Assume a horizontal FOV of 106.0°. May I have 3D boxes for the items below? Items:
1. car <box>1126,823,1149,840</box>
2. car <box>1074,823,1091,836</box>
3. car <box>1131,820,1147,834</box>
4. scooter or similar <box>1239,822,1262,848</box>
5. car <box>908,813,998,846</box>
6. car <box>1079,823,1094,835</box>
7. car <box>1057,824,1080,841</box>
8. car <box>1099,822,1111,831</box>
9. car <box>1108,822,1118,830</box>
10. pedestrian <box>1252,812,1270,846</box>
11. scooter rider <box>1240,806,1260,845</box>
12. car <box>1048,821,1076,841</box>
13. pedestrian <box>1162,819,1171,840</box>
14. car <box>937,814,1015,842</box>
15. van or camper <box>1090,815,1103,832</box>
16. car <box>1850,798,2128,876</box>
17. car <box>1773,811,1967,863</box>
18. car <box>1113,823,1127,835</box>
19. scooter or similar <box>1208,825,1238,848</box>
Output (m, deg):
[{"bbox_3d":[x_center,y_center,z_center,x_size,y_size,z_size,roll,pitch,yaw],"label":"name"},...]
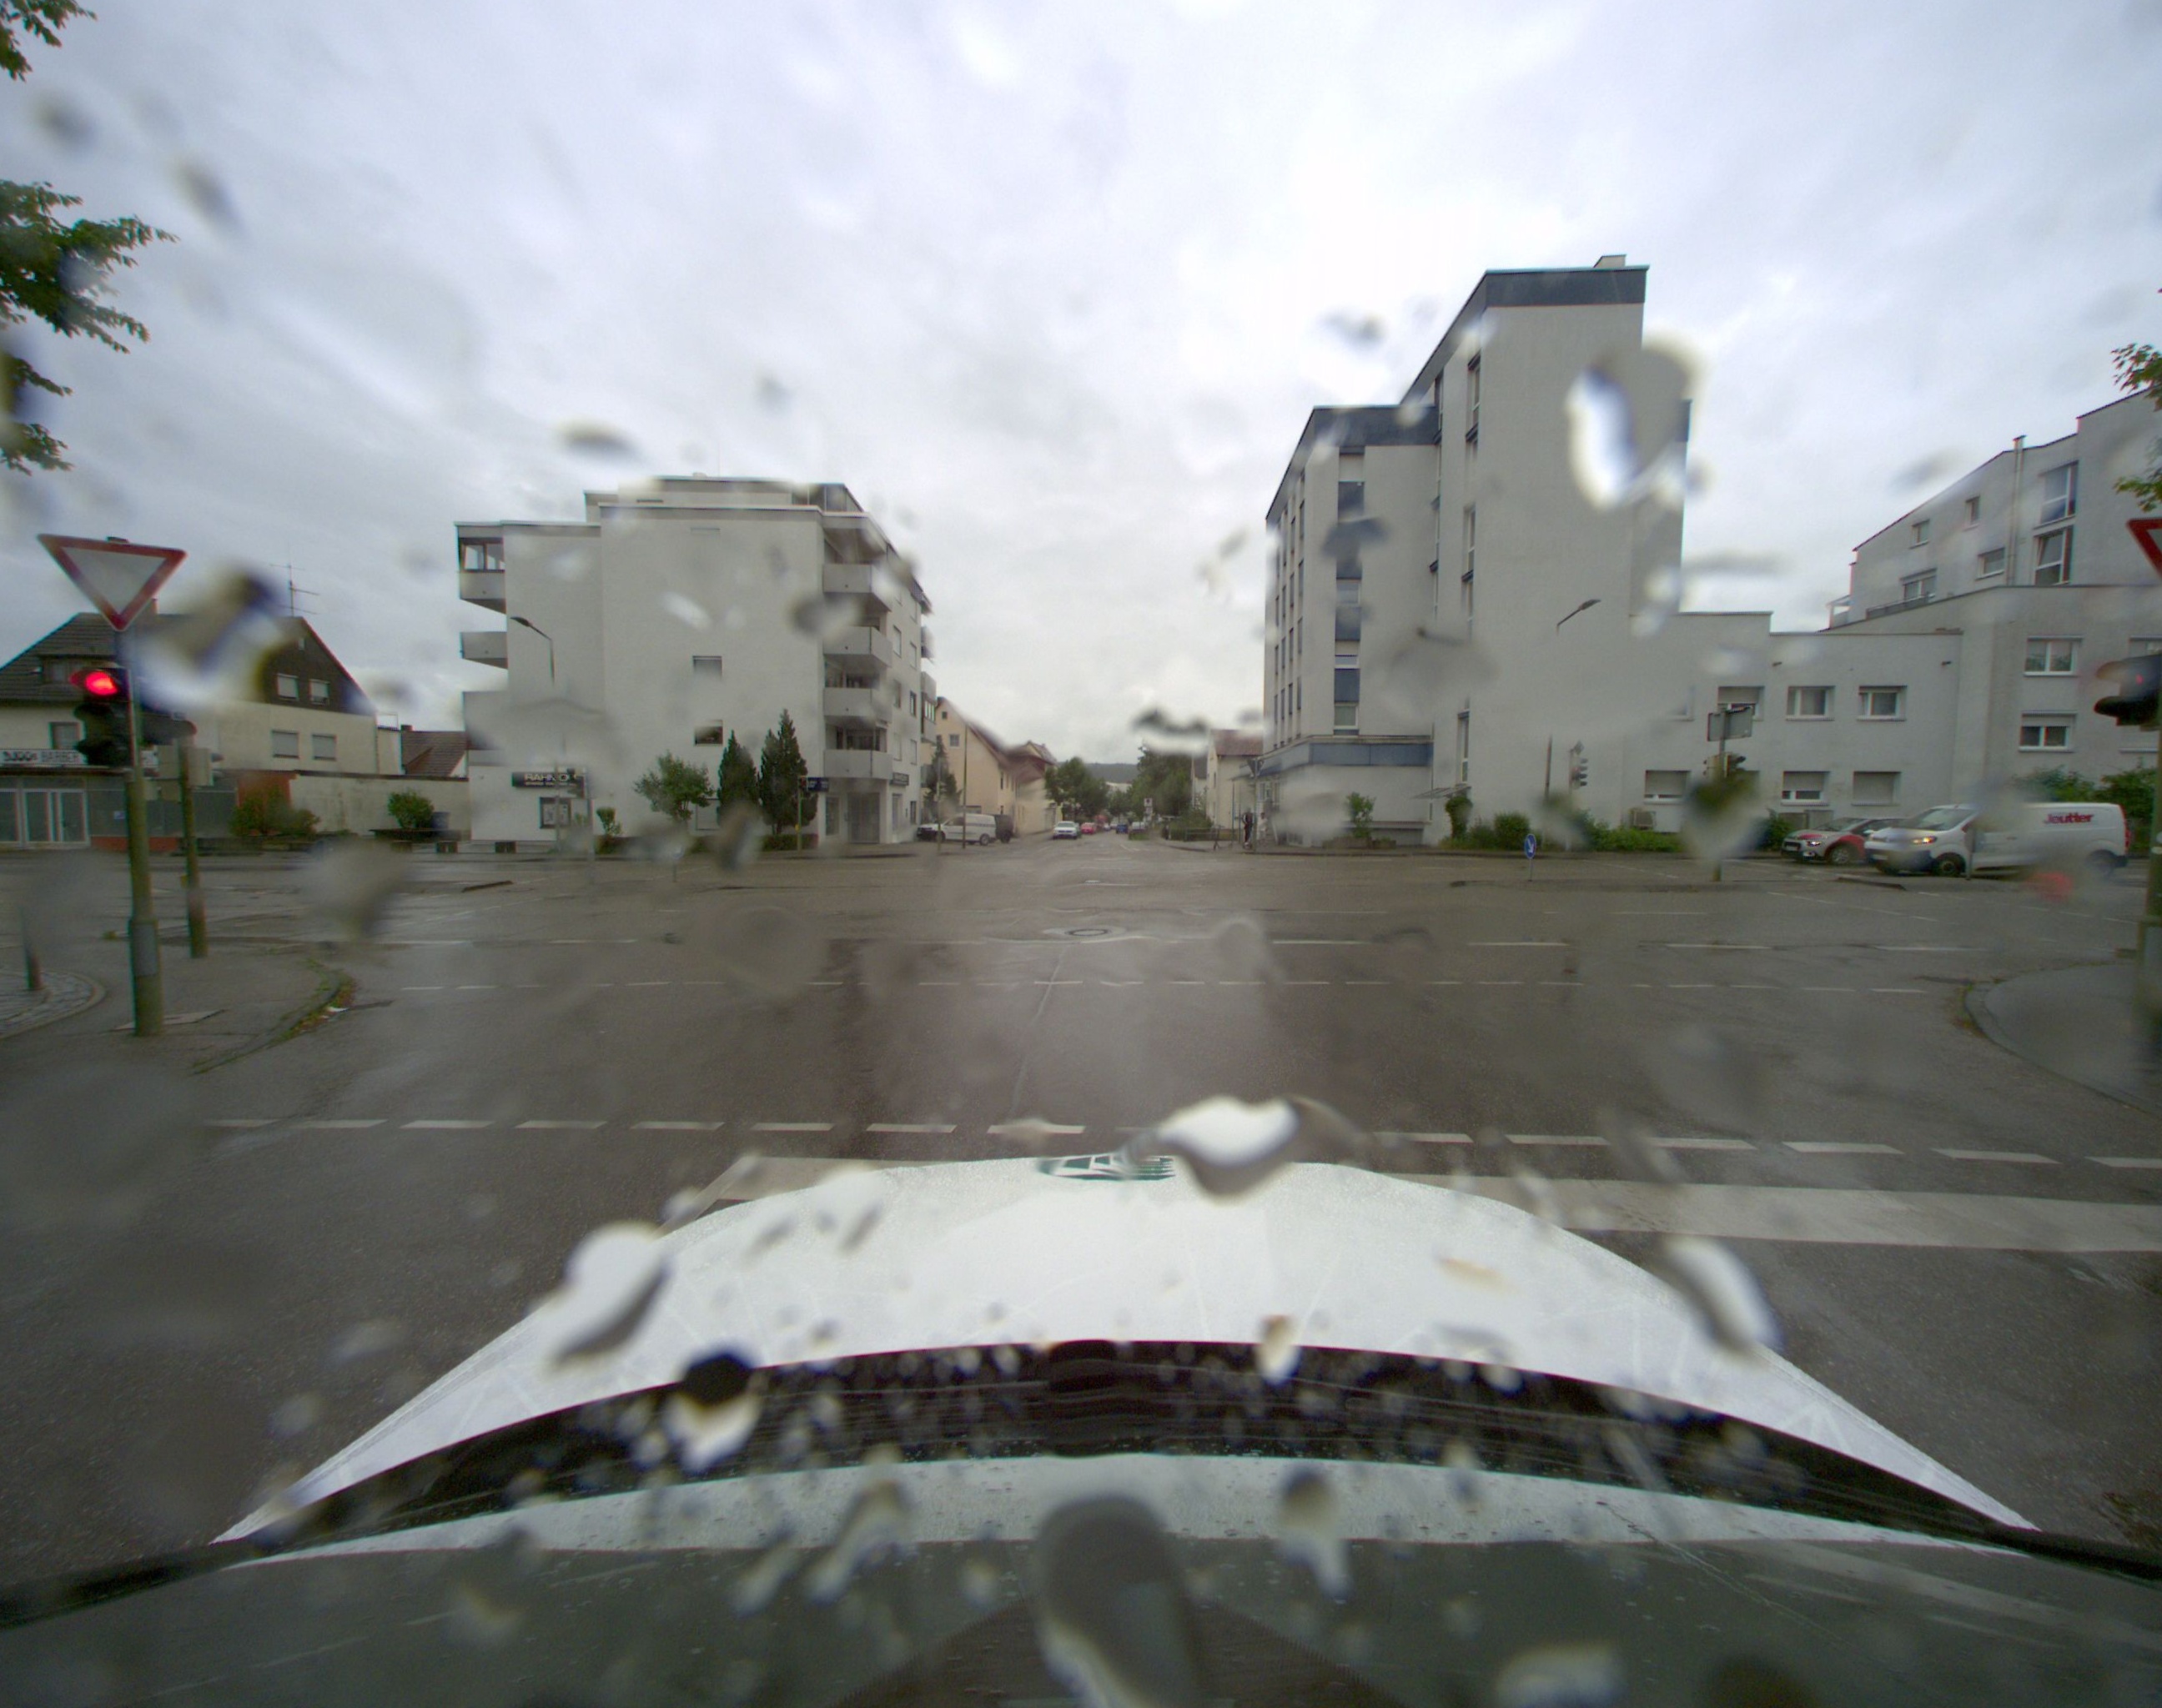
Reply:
[{"bbox_3d":[5.638,-2.291,81.798,2.137,1.589,4.131,-1,2,3],"label":"car"},{"bbox_3d":[0.190,-3.125,104.816,1.894,1.558,4.195,-1,2,3],"label":"car"},{"bbox_3d":[7.351,-3.400,103.807,1.894,1.745,4.195,-1,2,3],"label":"car"},{"bbox_3d":[7.914,-0.901,38.120,0.755,1.171,1.314,-1,1,-1],"label":"scooter or similar"},{"bbox_3d":[-7.515,-1.464,48.065,4.866,1.835,1.978,-2,2,-36],"label":"car"},{"bbox_3d":[0.735,-3.503,113.215,1.894,1.558,4.195,-1,2,3],"label":"car"},{"bbox_3d":[-1.166,-2.117,79.781,1.985,1.625,4.195,-1,2,3],"label":"car"},{"bbox_3d":[4.050,-4.646,138.971,1.894,1.558,4.195,-1,2,3],"label":"car"},{"bbox_3d":[6.149,-5.309,154.923,1.894,1.558,4.195,-1,2,3],"label":"car"},{"bbox_3d":[8.791,-1.217,39.743,0.646,1.647,0.525,3,1,-4],"label":"pedestrian"},{"bbox_3d":[7.901,-1.342,38.117,0.750,1.795,0.672,-1,1,-3],"label":"scooter rider"},{"bbox_3d":[-1.546,-1.940,68.378,1.985,1.625,4.195,-1,2,3],"label":"car"},{"bbox_3d":[7.666,-2.161,73.139,0.743,1.848,0.526,3,1,2],"label":"pedestrian"},{"bbox_3d":[-7.080,-1.789,55.130,4.866,1.835,1.978,-2,2,-36],"label":"car"},{"bbox_3d":[2.474,-4.761,127.354,1.894,2.513,4.242,-1,2,3],"label":"van or camper"},{"bbox_3d":[23.451,-0.432,21.217,4.787,1.916,1.831,0,0,8],"label":"car"},{"bbox_3d":[23.835,-0.522,24.728,3.966,1.467,1.835,-1,2,6],"label":"car"},{"bbox_3d":[5.878,-3.763,122.454,1.985,1.683,4.004,-1,2,3],"label":"car"},{"bbox_3d":[6.763,-0.841,38.797,1.265,1.081,0.876,-1,1,-3],"label":"scooter or similar"}]
